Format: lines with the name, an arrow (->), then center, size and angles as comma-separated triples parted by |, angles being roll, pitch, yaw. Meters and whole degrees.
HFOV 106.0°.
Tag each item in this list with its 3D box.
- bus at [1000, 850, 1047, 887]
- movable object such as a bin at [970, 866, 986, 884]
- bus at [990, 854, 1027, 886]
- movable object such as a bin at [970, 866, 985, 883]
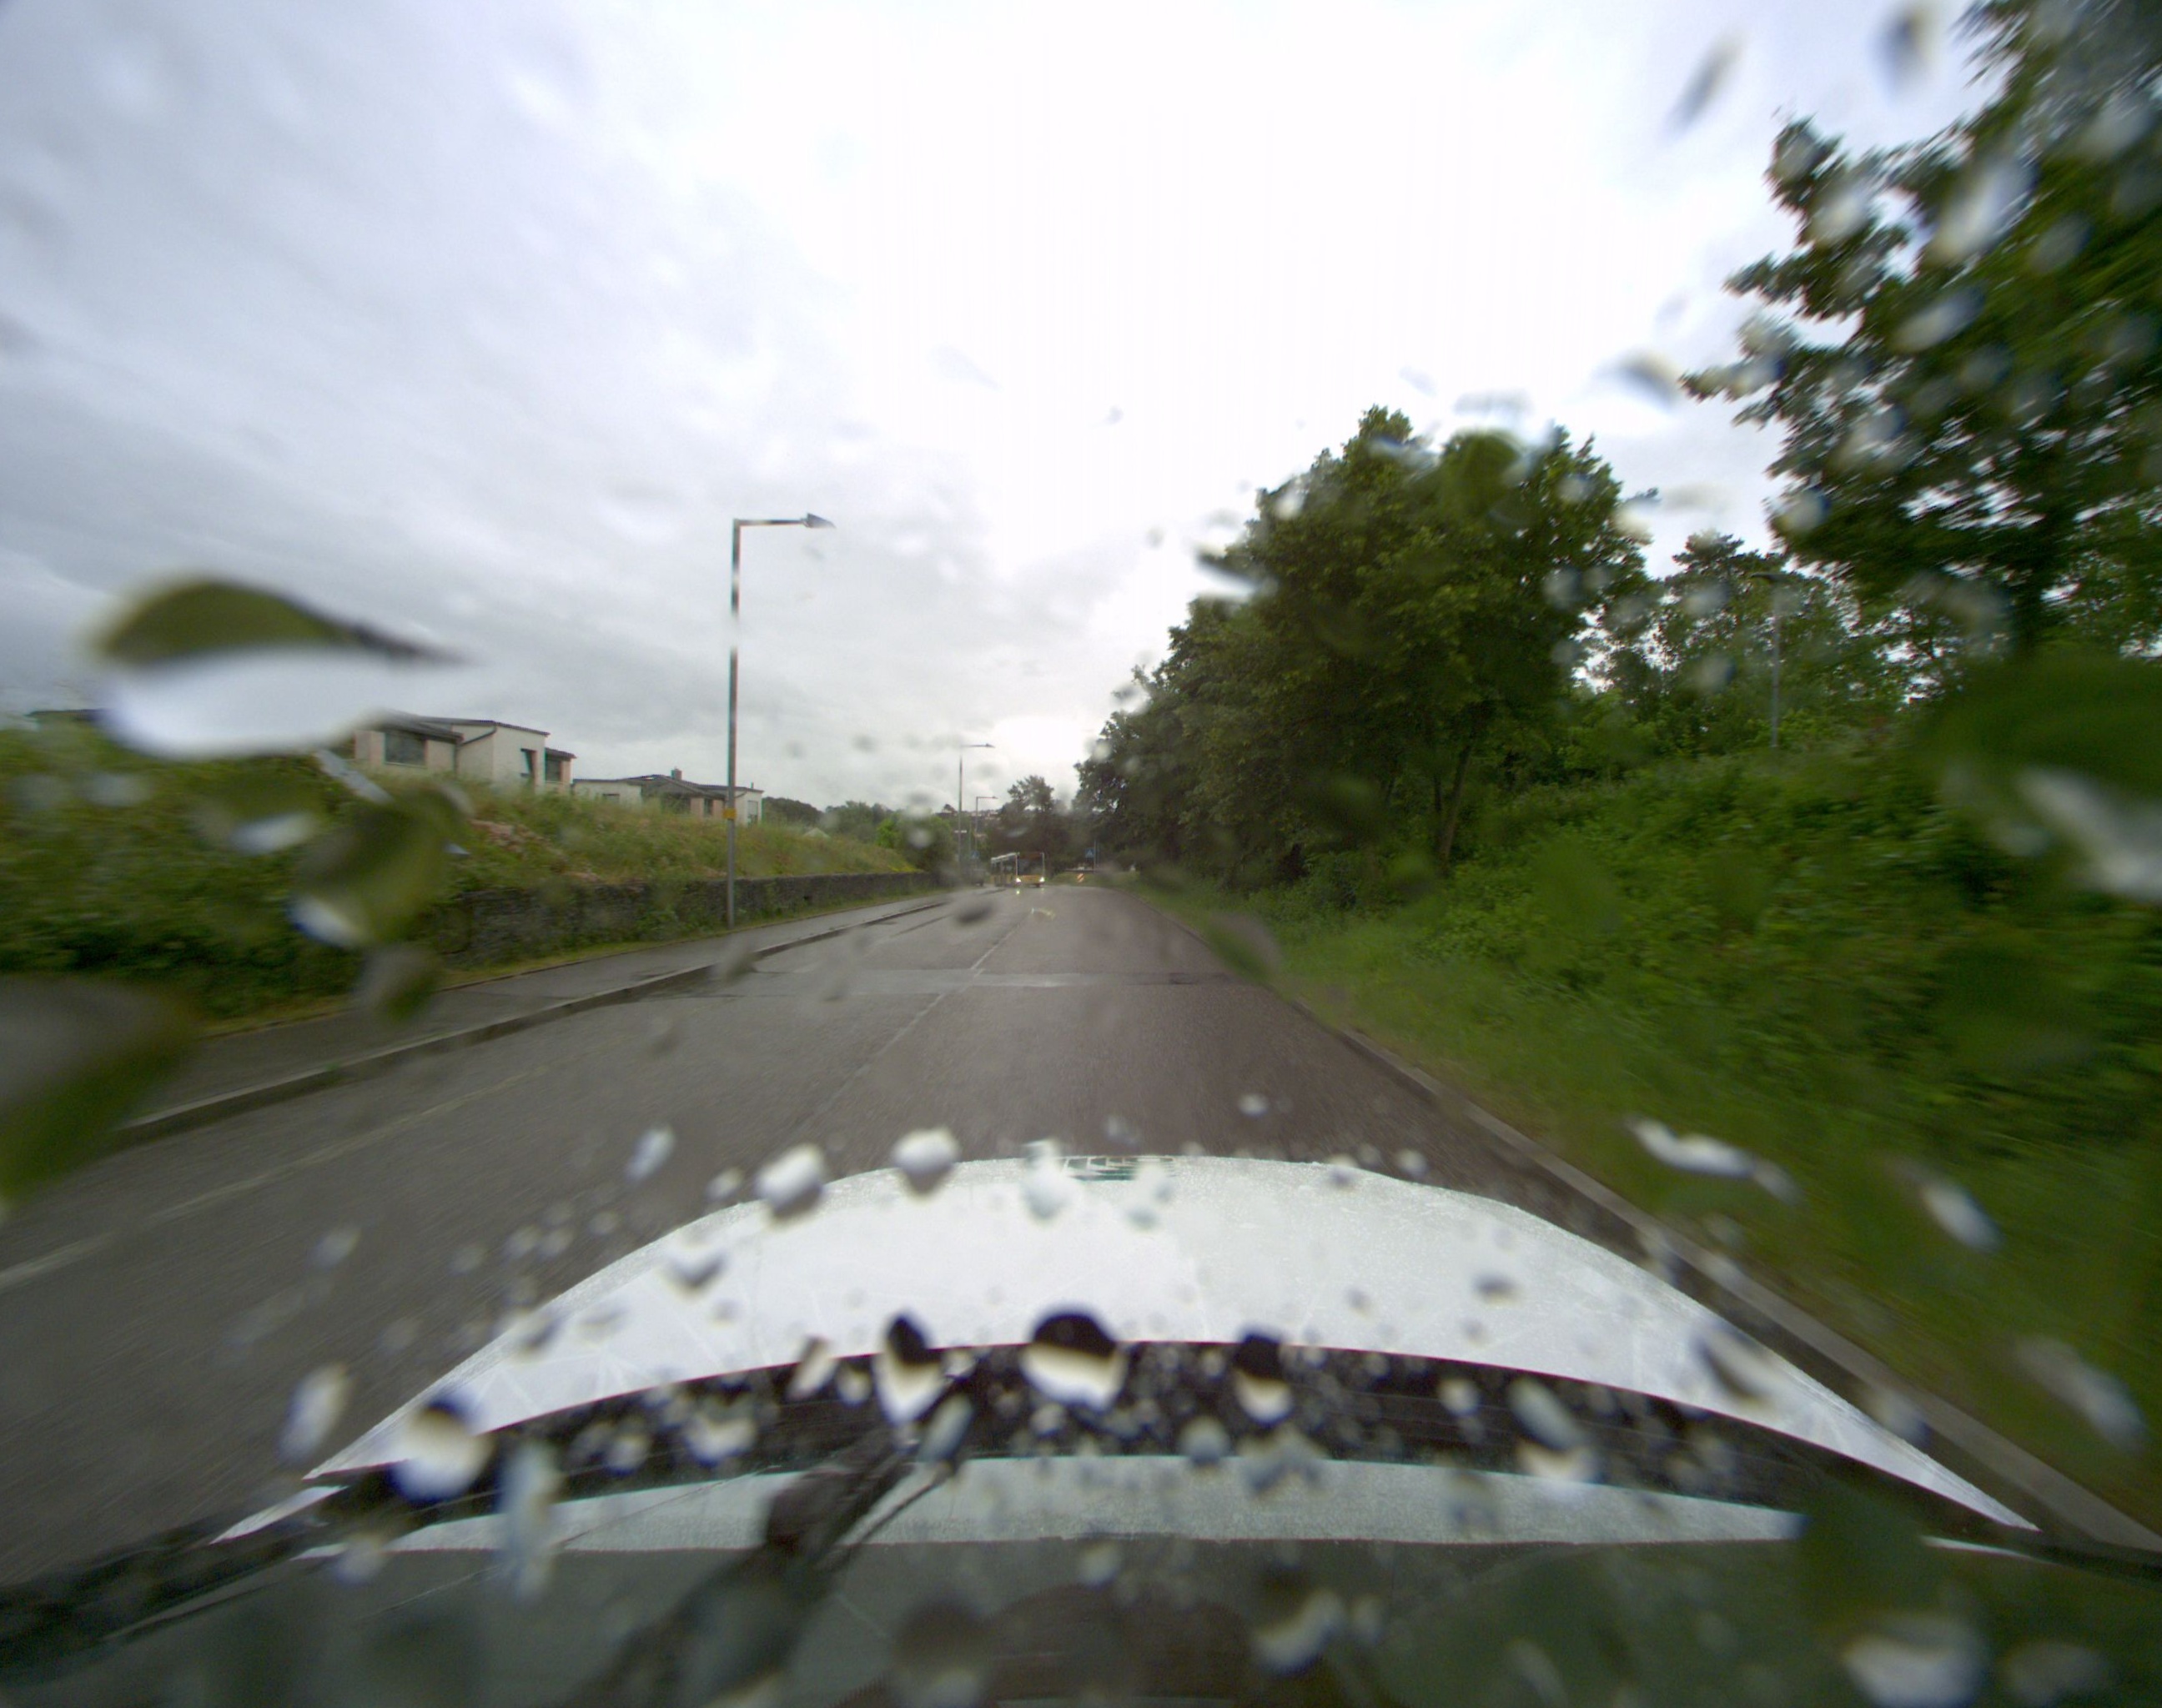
bus -> -5.343, 1.381, 73.474 | 2.642, 3.068, 10.807 | 0, -2, -12
movable object such as a bin -> -8.221, 1.664, 64.939 | 1.131, 1.339, 1.394 | 3, -2, -10
bus -> -7.427, 1.635, 82.445 | 2.643, 3.033, 7.629 | 0, -2, -14
movable object such as a bin -> -8.470, 1.702, 66.479 | 1.131, 1.302, 1.393 | 3, -2, -10
